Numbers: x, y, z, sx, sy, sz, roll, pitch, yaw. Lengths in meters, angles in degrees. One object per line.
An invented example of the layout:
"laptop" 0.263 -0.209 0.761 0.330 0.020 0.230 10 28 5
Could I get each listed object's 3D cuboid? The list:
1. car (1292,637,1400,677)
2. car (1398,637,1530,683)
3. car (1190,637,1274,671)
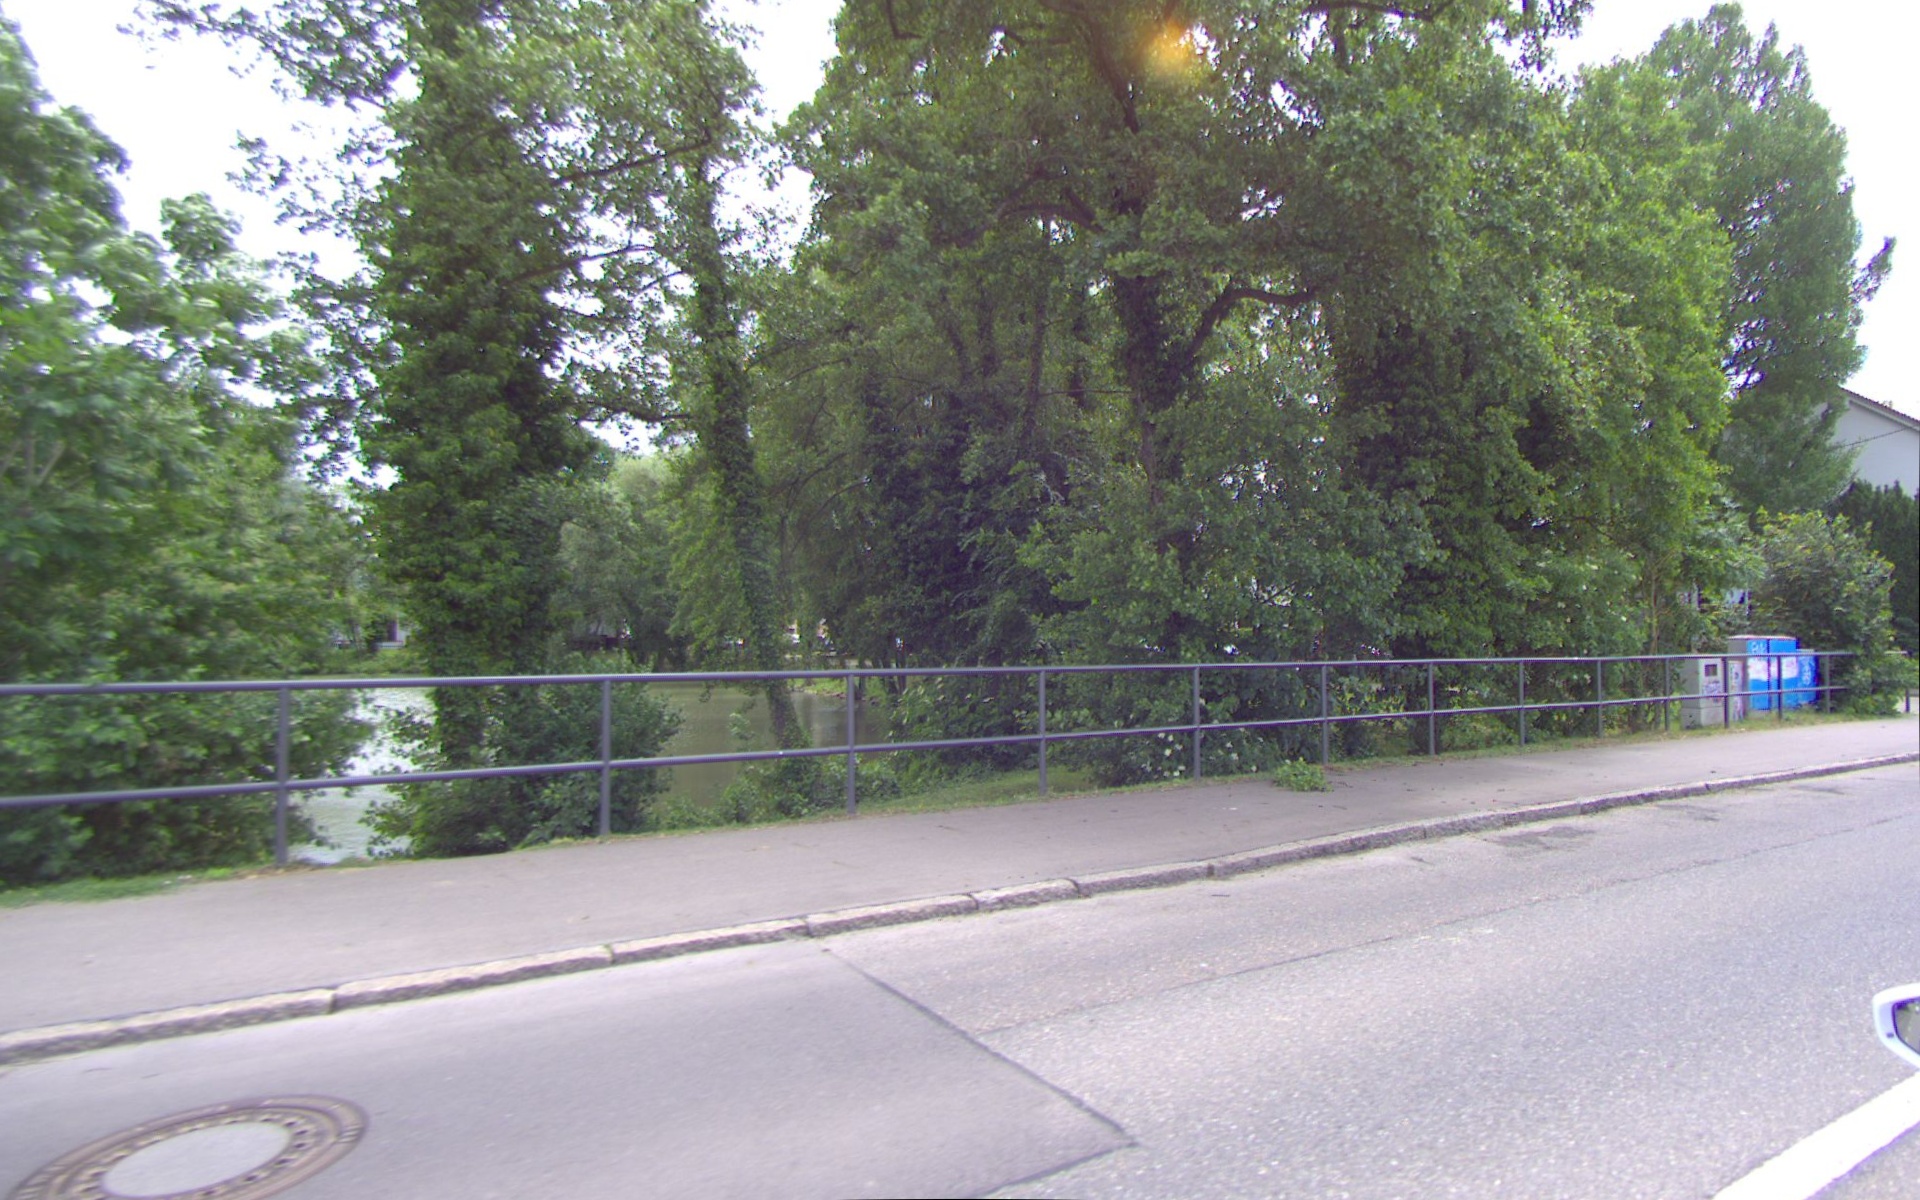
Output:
"car" 15.875 2.326 41.462 1.930 1.499 3.976 1 -1 -24
"car" 18.158 2.119 36.375 1.819 1.537 3.970 1 -2 -29
"car" 13.143 2.591 48.779 1.929 1.499 3.978 1 -1 -23
